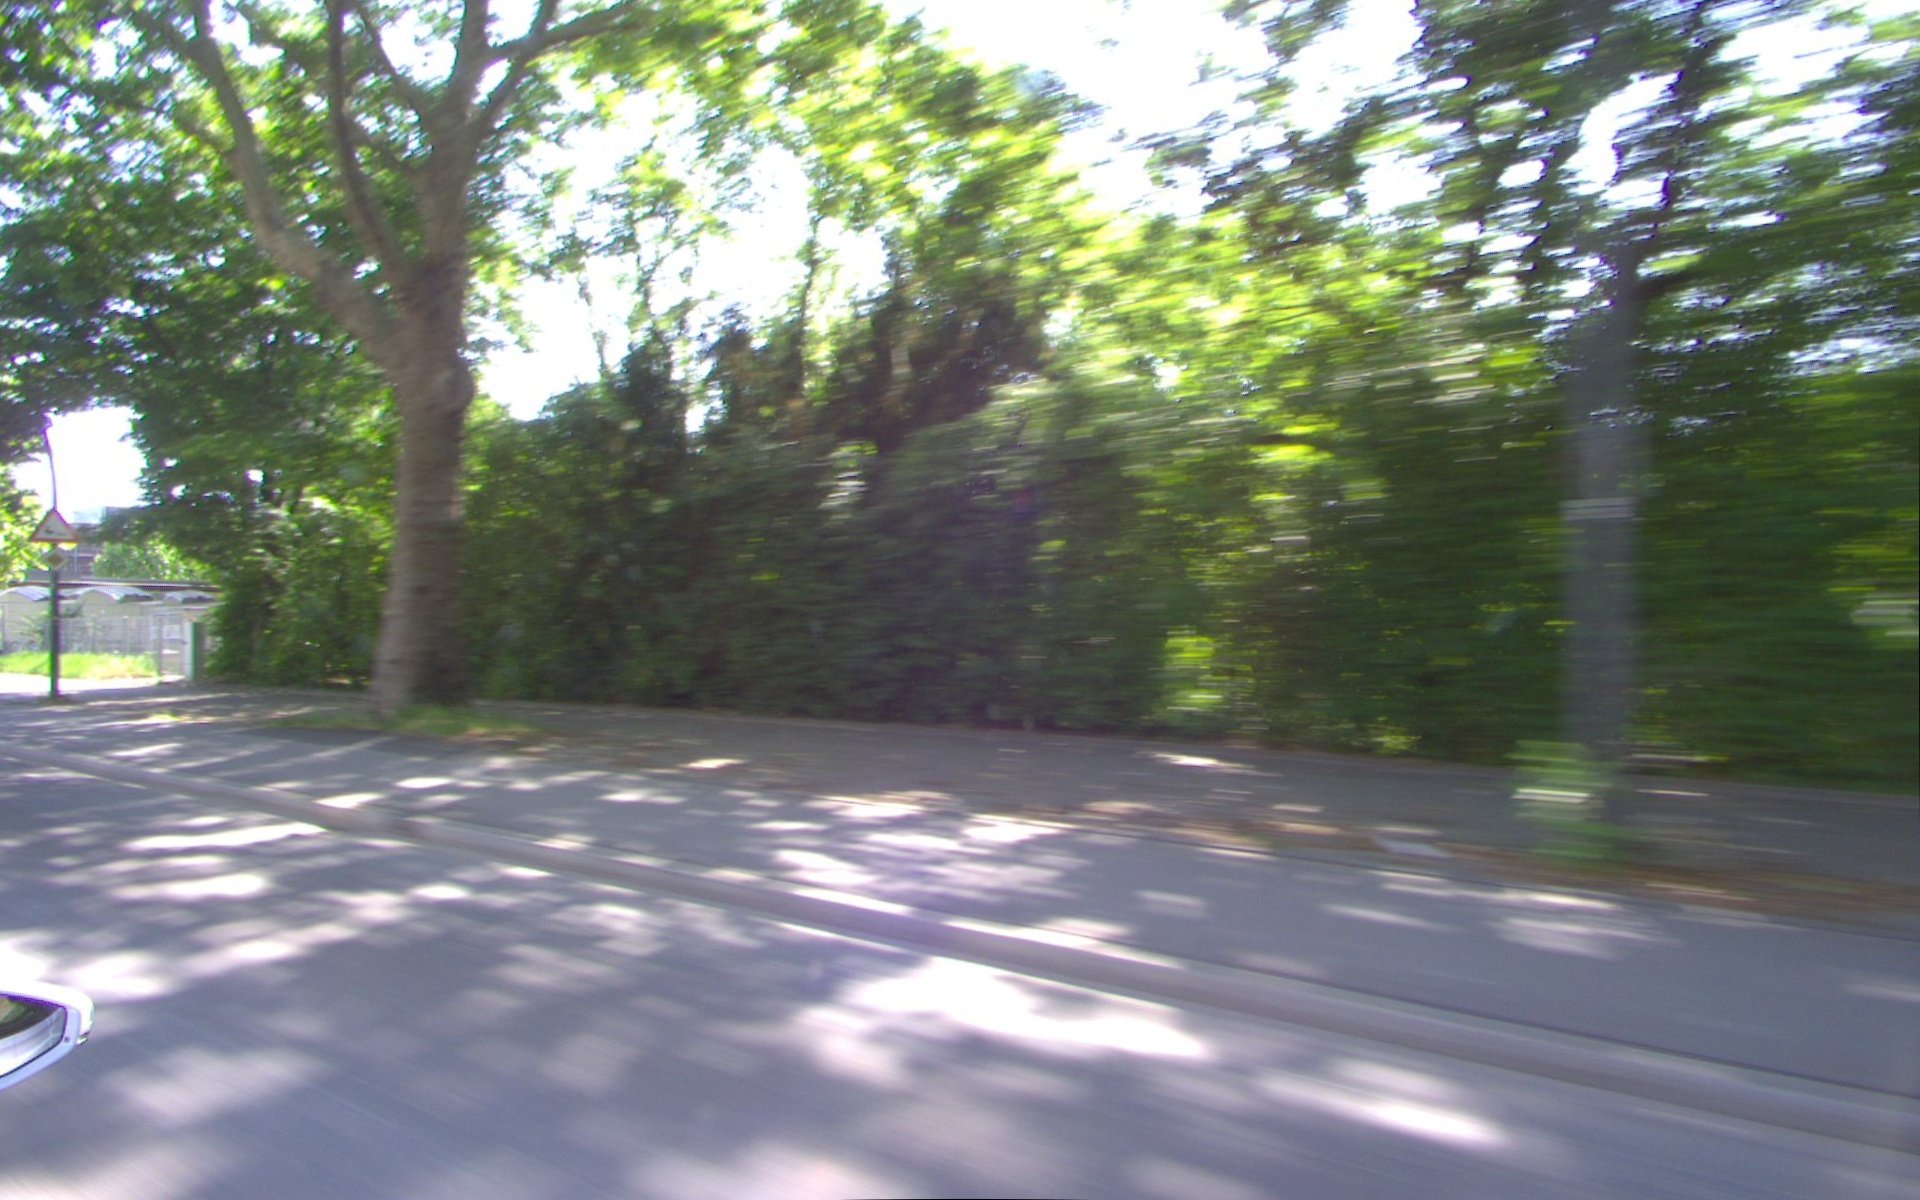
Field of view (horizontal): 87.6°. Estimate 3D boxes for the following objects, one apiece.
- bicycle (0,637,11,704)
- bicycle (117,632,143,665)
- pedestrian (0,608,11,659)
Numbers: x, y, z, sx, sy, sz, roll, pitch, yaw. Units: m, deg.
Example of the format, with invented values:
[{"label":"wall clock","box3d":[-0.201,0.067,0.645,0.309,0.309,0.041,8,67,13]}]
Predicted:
[{"label":"bicycle","box3d":[-17.613,1.239,17.688,2.147,1.163,0.712,-1,1,33]},{"label":"bicycle","box3d":[-30.032,1.744,36.233,1.157,1.195,0.388,-1,-1,34]},{"label":"pedestrian","box3d":[-35.932,1.252,37.369,0.589,1.921,0.612,0,0,30]}]
